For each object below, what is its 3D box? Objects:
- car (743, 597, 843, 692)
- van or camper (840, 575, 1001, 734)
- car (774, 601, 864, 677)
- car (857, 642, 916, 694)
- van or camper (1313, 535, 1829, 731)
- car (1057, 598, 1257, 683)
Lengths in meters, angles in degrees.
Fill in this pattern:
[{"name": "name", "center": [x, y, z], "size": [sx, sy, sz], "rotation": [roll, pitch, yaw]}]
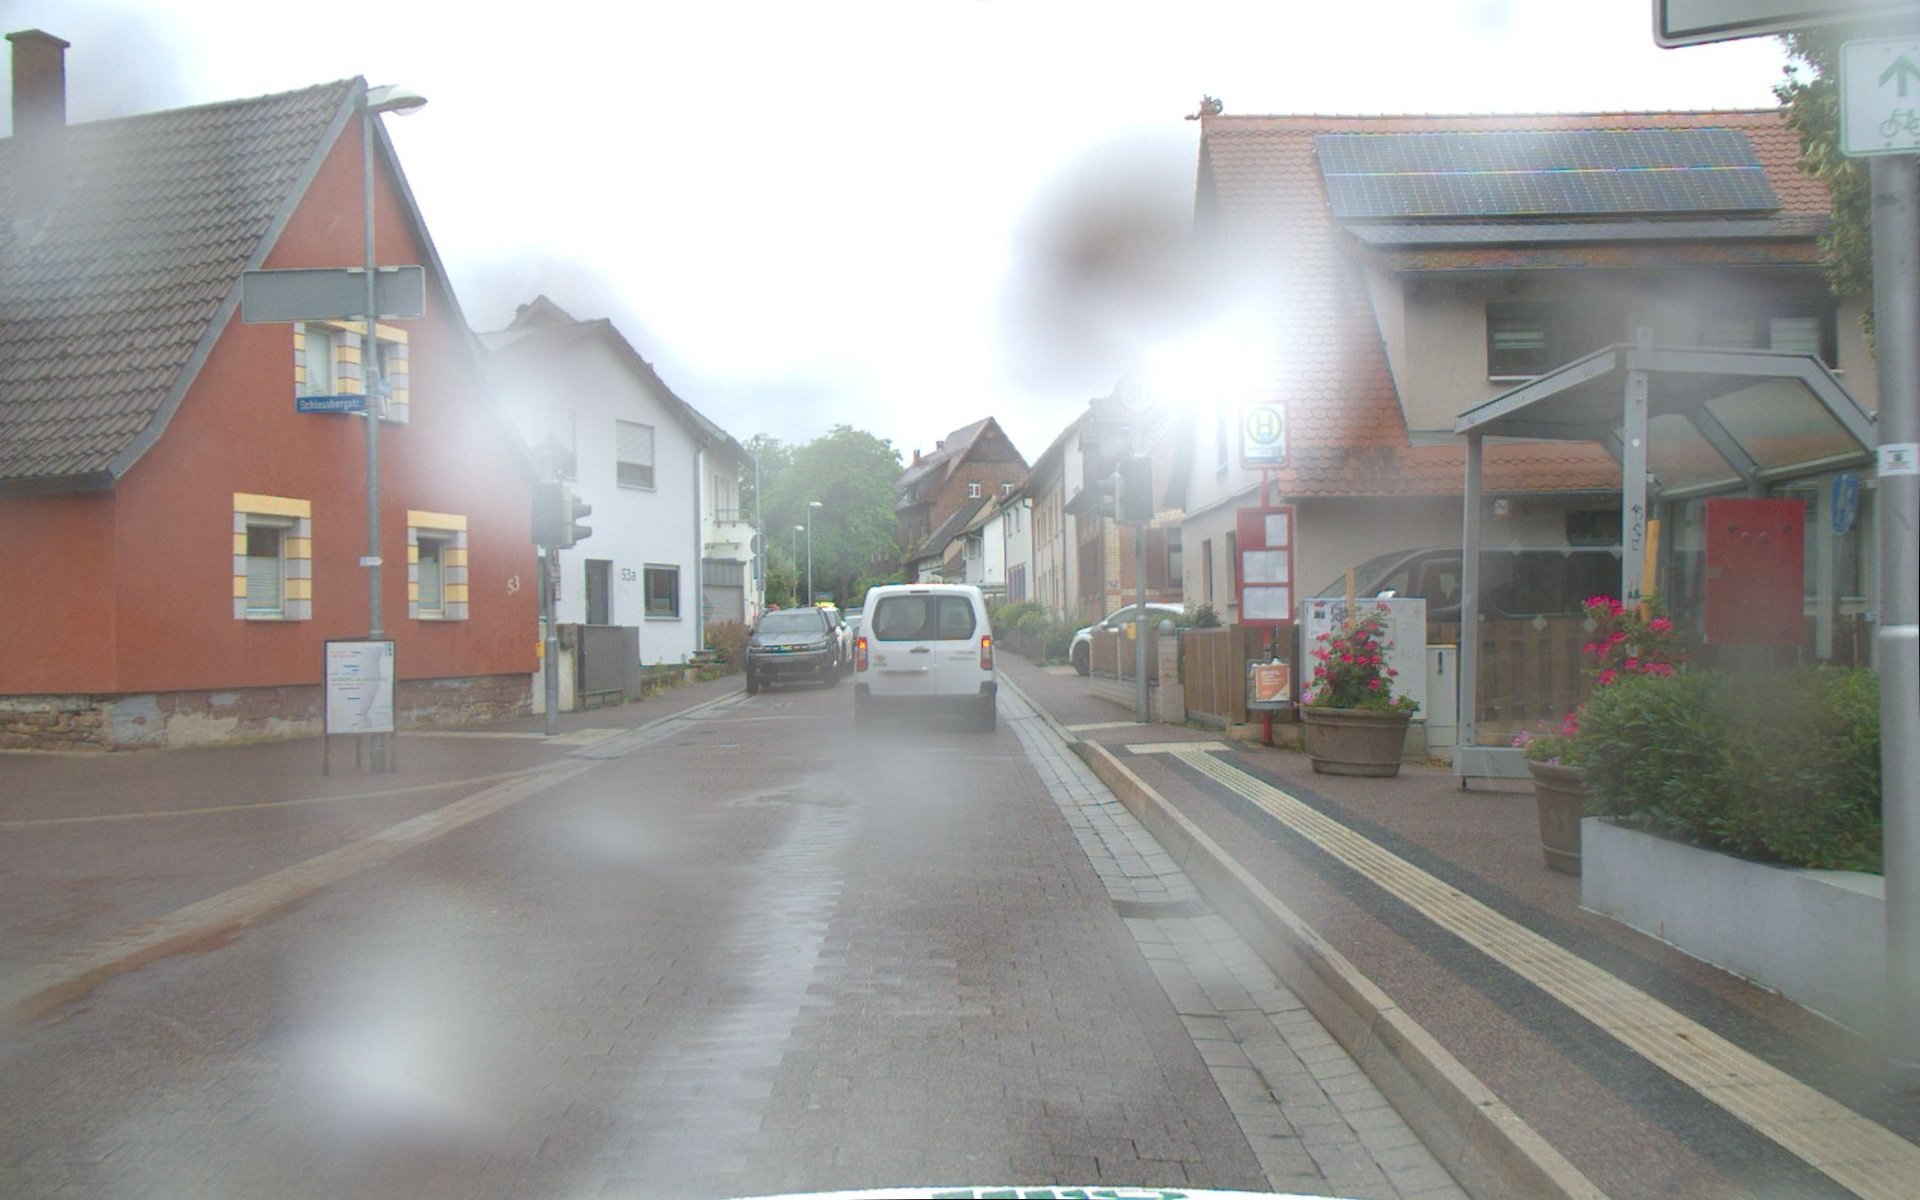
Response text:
[{"name": "car", "center": [-3.433, 0.864, 34.545], "size": [1.776, 1.810, 4.016], "rotation": [-2, 0, -2]}, {"name": "van or camper", "center": [-0.490, 0.662, 21.668], "size": [1.904, 1.883, 3.999], "rotation": [0, 0, -1]}, {"name": "car", "center": [-3.420, 0.946, 40.823], "size": [1.713, 1.665, 4.418], "rotation": [-4, -1, 1]}, {"name": "car", "center": [-2.425, 2.186, 53.539], "size": [1.656, 1.592, 3.928], "rotation": [-2, -2, -6]}, {"name": "van or camper", "center": [6.562, 0.359, 18.071], "size": [4.969, 1.957, 1.874], "rotation": [1, -1, -4]}, {"name": "car", "center": [4.193, 0.822, 35.898], "size": [1.853, 1.617, 4.567], "rotation": [0, 1, -33]}]
